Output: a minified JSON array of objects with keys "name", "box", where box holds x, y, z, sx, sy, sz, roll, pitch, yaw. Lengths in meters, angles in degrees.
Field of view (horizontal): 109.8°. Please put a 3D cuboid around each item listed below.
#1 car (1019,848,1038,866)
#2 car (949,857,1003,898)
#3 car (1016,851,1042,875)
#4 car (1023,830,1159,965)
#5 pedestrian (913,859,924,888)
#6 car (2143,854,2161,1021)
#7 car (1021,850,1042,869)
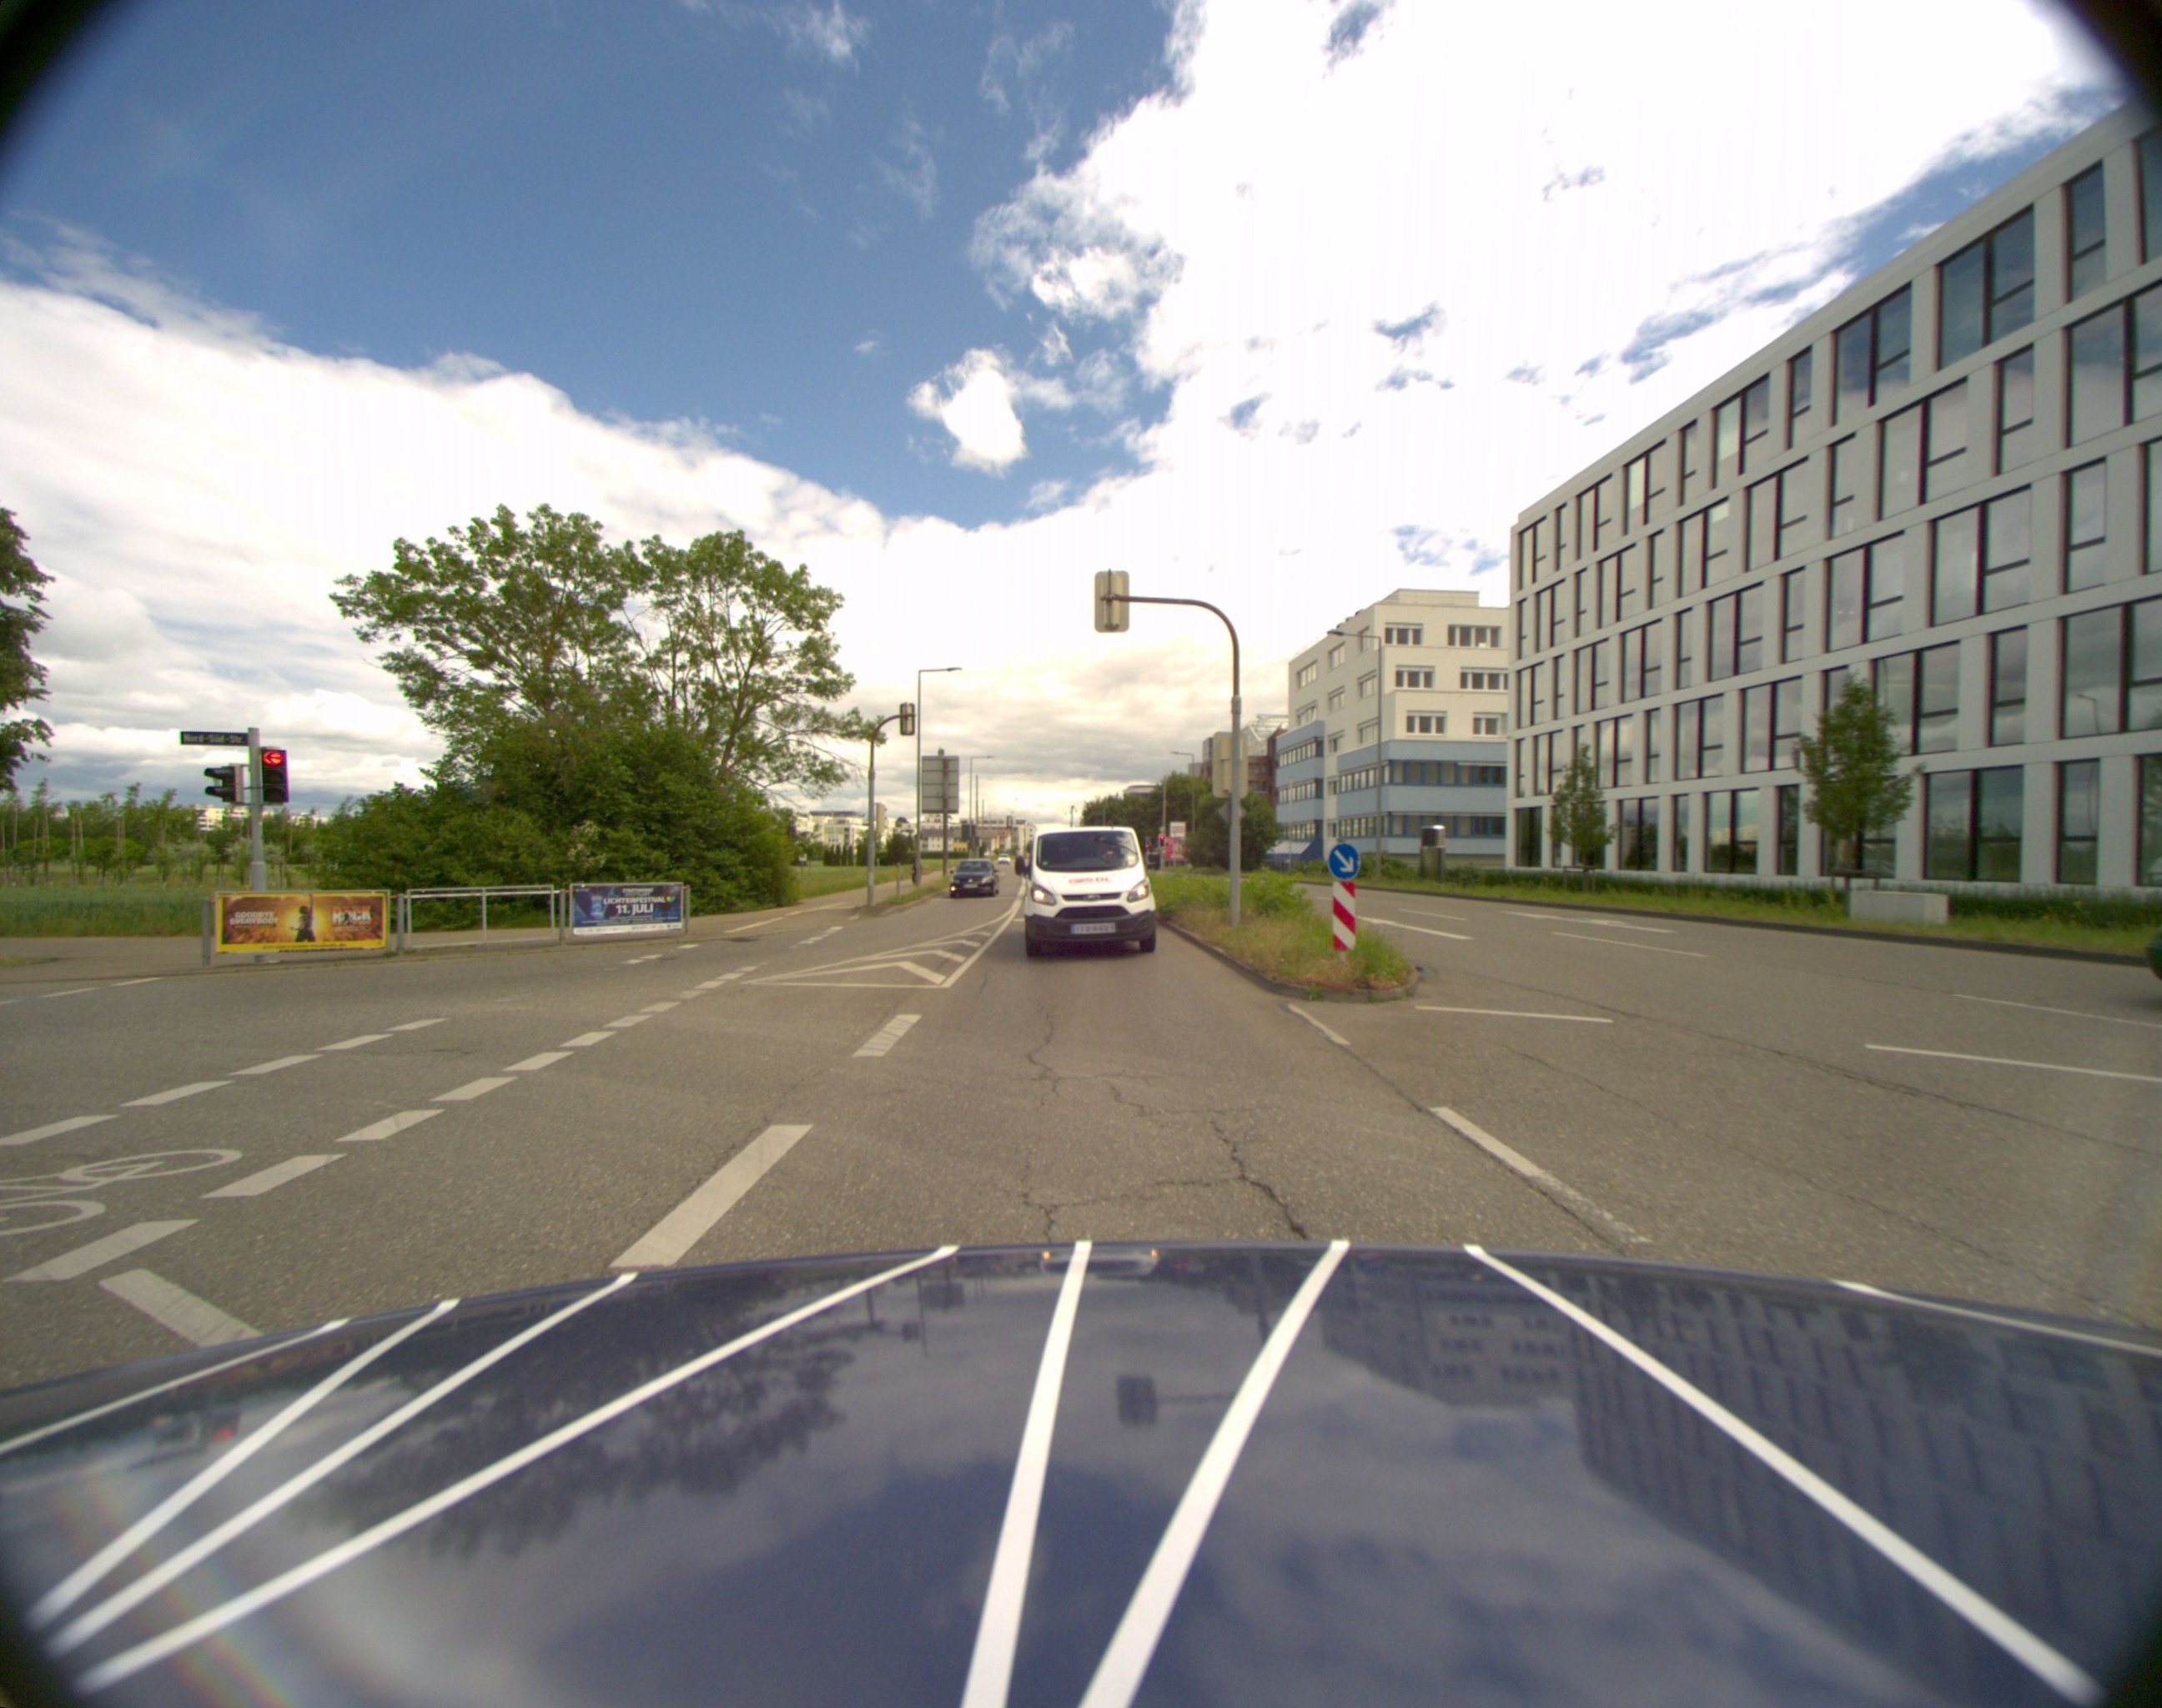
[{"name":"car","box":[-4.917,0.270,70.743,1.628,1.528,3.428,-2,1,-5]},{"name":"car","box":[-4.005,0.879,29.519,1.683,1.410,3.738,-1,1,-2]},{"name":"car","box":[-3.663,0.598,52.793,1.653,1.528,3.428,-2,1,-5]},{"name":"car","box":[0.007,0.626,13.747,1.968,1.938,5.053,-1,0,-3]},{"name":"pedestrian","box":[-9.688,1.177,45.291,0.492,1.693,0.625,-2,1,-5]},{"name":"car","box":[10.086,0.699,4.752,1.610,1.424,3.751,-2,0,-2]},{"name":"car","box":[-4.253,0.450,64.944,1.628,1.528,3.428,-2,1,-5]}]
